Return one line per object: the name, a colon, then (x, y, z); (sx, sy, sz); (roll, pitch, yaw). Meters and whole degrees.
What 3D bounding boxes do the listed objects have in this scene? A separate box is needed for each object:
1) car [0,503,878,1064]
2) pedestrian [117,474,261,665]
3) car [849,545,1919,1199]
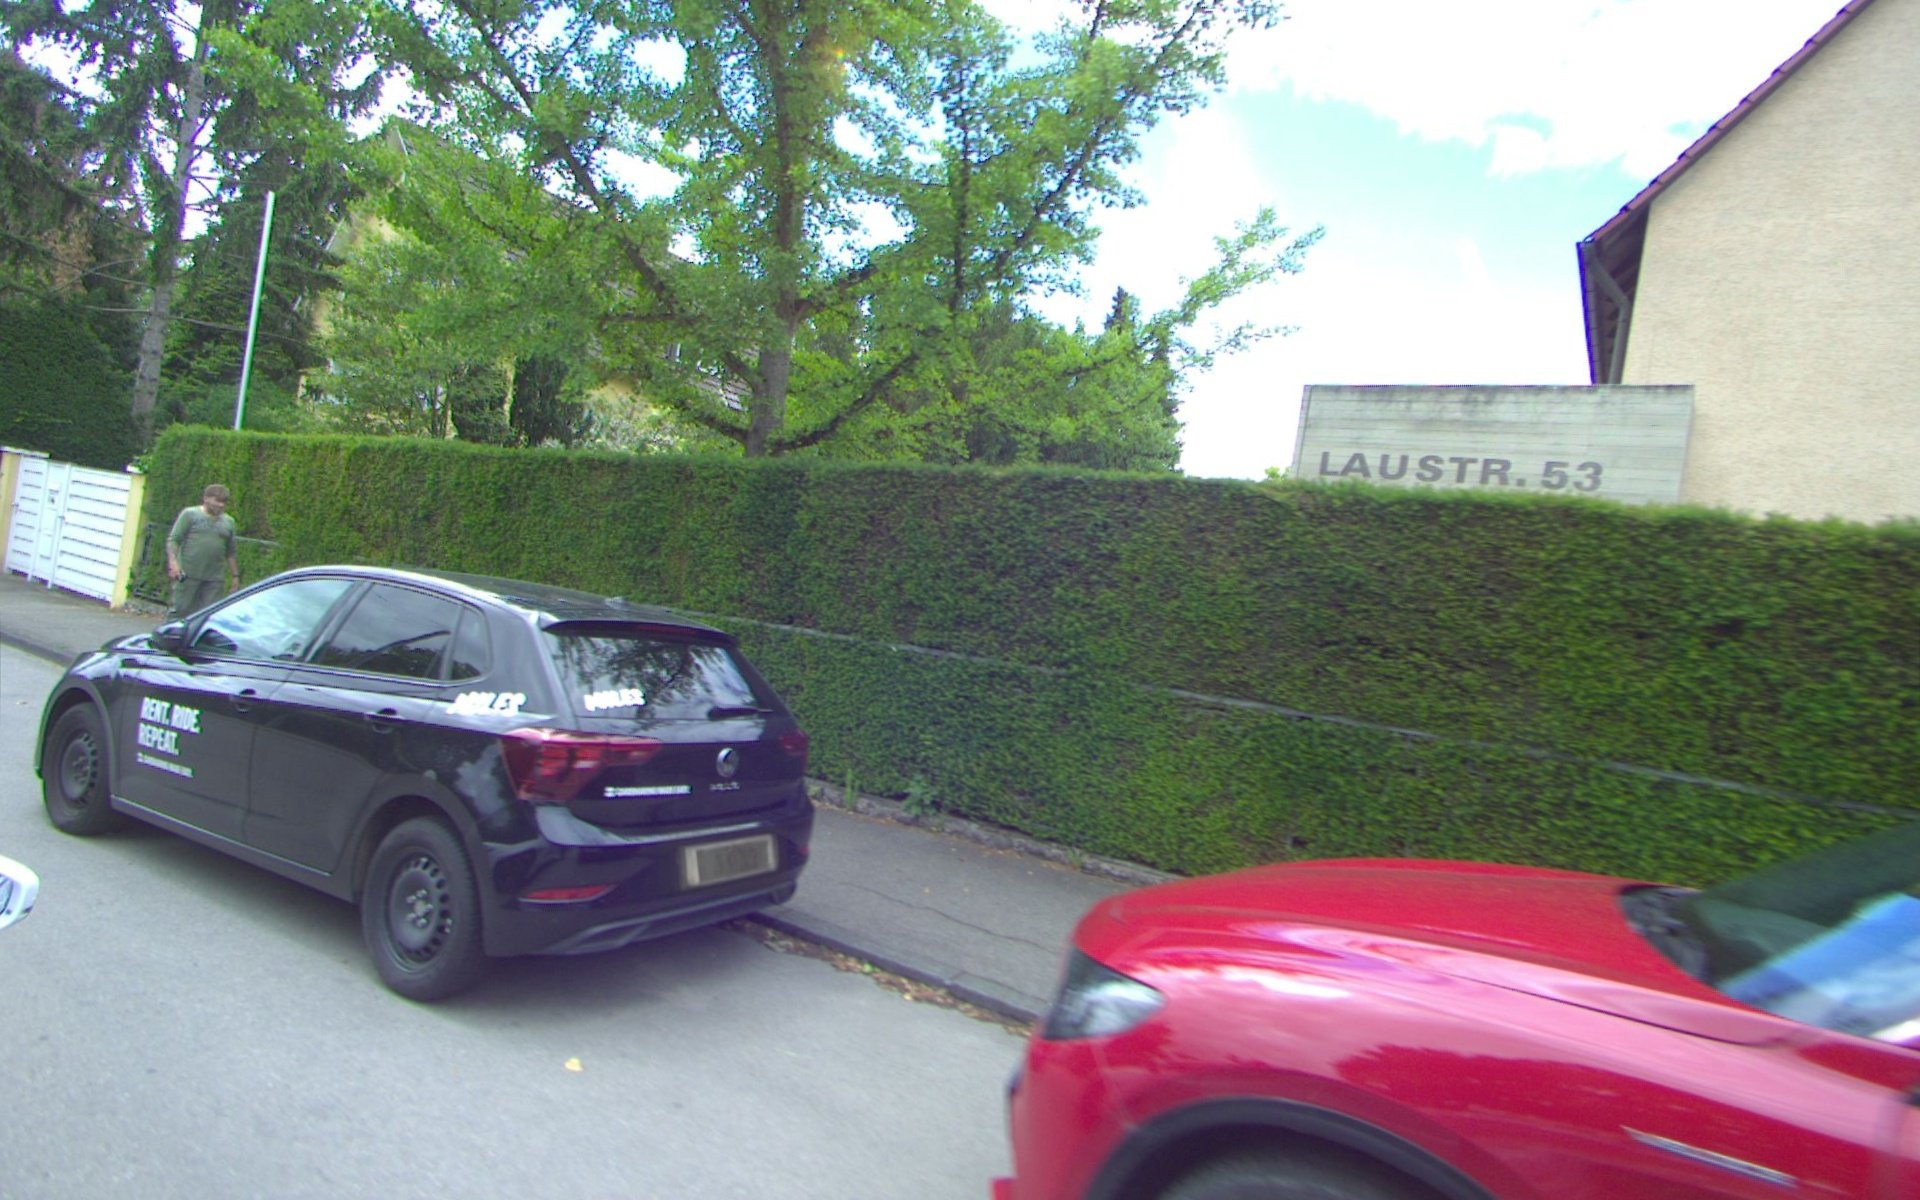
car: (-2.580, 0.522, 4.705); (3.983, 1.424, 1.682); (7, 0, 28)
pedestrian: (-7.555, -0.292, 9.858); (0.902, 1.719, 0.670); (8, 1, 29)
car: (2.293, 1.009, 1.592); (4.686, 1.601, 1.891); (7, 0, 32)
